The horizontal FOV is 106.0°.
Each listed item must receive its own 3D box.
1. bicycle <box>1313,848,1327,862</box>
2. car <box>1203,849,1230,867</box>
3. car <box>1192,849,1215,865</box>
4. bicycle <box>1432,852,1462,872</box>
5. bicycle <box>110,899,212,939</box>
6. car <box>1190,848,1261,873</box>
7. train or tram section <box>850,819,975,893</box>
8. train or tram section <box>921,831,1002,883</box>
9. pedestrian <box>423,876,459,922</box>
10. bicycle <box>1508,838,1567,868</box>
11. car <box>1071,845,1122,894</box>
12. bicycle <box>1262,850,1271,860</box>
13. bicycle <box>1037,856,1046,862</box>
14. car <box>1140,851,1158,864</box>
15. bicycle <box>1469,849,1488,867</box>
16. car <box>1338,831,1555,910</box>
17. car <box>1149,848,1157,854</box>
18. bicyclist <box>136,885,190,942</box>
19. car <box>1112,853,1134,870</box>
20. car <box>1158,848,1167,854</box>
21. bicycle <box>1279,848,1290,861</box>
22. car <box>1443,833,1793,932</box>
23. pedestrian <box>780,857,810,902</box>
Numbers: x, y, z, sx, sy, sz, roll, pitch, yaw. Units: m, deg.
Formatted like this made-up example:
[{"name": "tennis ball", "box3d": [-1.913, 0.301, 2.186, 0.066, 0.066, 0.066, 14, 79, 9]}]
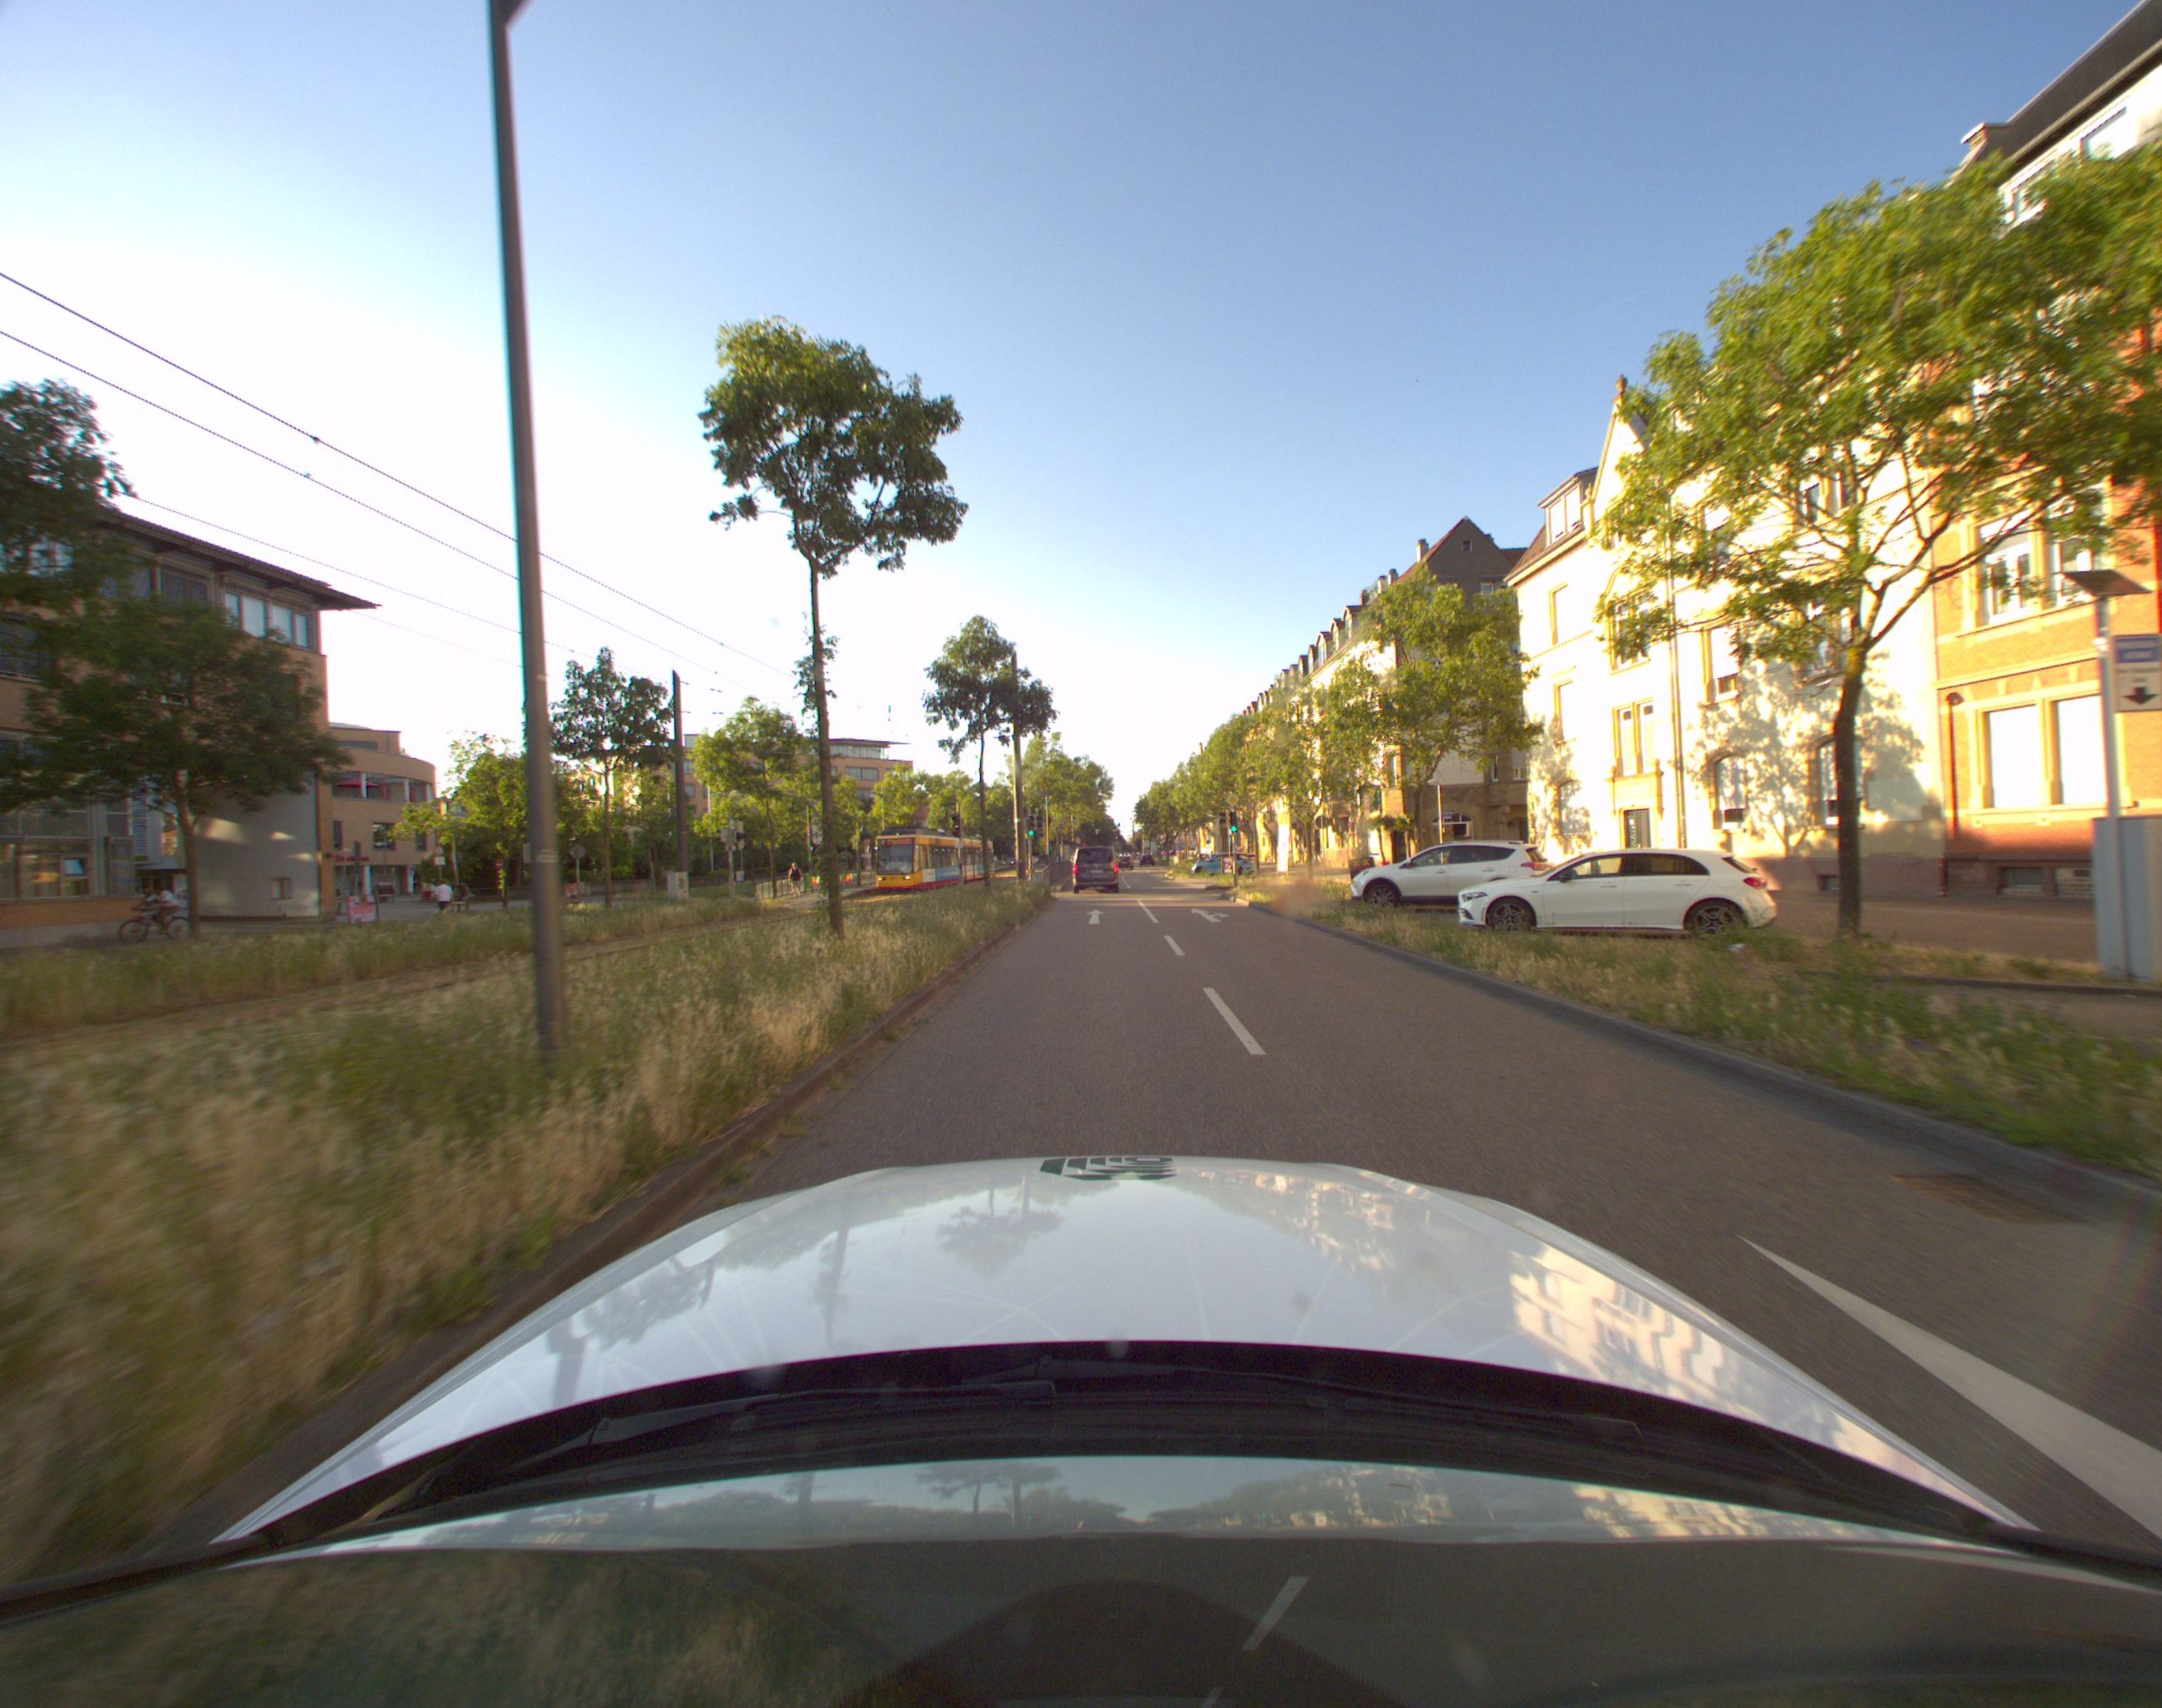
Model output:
[{"name": "bicycle", "box3d": [18.719, 0.048, 63.885, 0.570, 1.073, 1.897, -3, 0, 2]}, {"name": "car", "box3d": [11.554, 0.314, 69.762, 1.719, 1.512, 4.273, 0, 0, 1]}, {"name": "car", "box3d": [11.876, 0.265, 79.226, 1.697, 1.448, 4.291, 0, 0, 2]}, {"name": "bicycle", "box3d": [16.872, 0.380, 37.588, 0.458, 0.872, 1.885, -8, -1, 2]}, {"name": "bicycle", "box3d": [-28.496, 2.004, 25.281, 0.707, 1.052, 2.095, -2, 0, 2]}, {"name": "car", "box3d": [9.583, 0.445, 54.167, 4.232, 1.522, 1.859, -2, 0, 34]}, {"name": "train or tram section", "box3d": [-9.139, 0.115, 46.883, 3.418, 3.430, 15.034, -2, 0, 2]}, {"name": "train or tram section", "box3d": [-8.650, 0.190, 61.319, 3.418, 3.339, 13.864, -2, 0, 2]}, {"name": "pedestrian", "box3d": [-24.506, 1.706, 31.194, 0.687, 1.697, 0.827, -2, 0, -6]}, {"name": "bicycle", "box3d": [21.718, -0.057, 38.763, 2.343, 1.320, 0.730, -2, 0, -3]}, {"name": "car", "box3d": [0.686, 0.593, 34.137, 1.986, 1.900, 4.302, -1, 0, 2]}, {"name": "bicycle", "box3d": [19.281, 0.051, 84.702, 0.481, 1.005, 1.747, -2, 0, 2]}, {"name": "bicycle", "box3d": [-8.122, 0.996, 166.529, 1.731, 1.142, 0.552, -3, 0, -40]}, {"name": "car", "box3d": [8.394, 0.437, 100.402, 1.986, 1.510, 4.002, -1, 0, 2]}, {"name": "bicycle", "box3d": [22.430, 0.202, 45.966, 0.623, 0.947, 1.893, -2, 1, 17]}, {"name": "car", "box3d": [8.705, 0.379, 19.546, 4.375, 1.691, 1.928, -2, 0, 37]}, {"name": "car", "box3d": [22.813, -0.873, 258.621, 1.987, 1.656, 4.298, -3, 0, -1]}, {"name": "bicyclist", "box3d": [-28.491, 1.834, 25.291, 0.692, 1.674, 0.826, -2, 0, 2]}, {"name": "car", "box3d": [4.135, 0.724, 80.701, 1.988, 1.510, 3.998, -1, 0, -1]}, {"name": "car", "box3d": [25.364, -0.908, 253.442, 1.987, 1.656, 4.298, -3, 0, -1]}, {"name": "bicycle", "box3d": [19.040, 0.051, 76.178, 0.481, 1.165, 1.747, -7, 0, 2]}, {"name": "car", "box3d": [8.633, 0.468, 13.521, 4.496, 1.400, 2.044, -2, -1, 32]}, {"name": "pedestrian", "box3d": [-13.263, 1.158, 37.805, 0.931, 2.013, 0.957, -2, 0, 1]}]
